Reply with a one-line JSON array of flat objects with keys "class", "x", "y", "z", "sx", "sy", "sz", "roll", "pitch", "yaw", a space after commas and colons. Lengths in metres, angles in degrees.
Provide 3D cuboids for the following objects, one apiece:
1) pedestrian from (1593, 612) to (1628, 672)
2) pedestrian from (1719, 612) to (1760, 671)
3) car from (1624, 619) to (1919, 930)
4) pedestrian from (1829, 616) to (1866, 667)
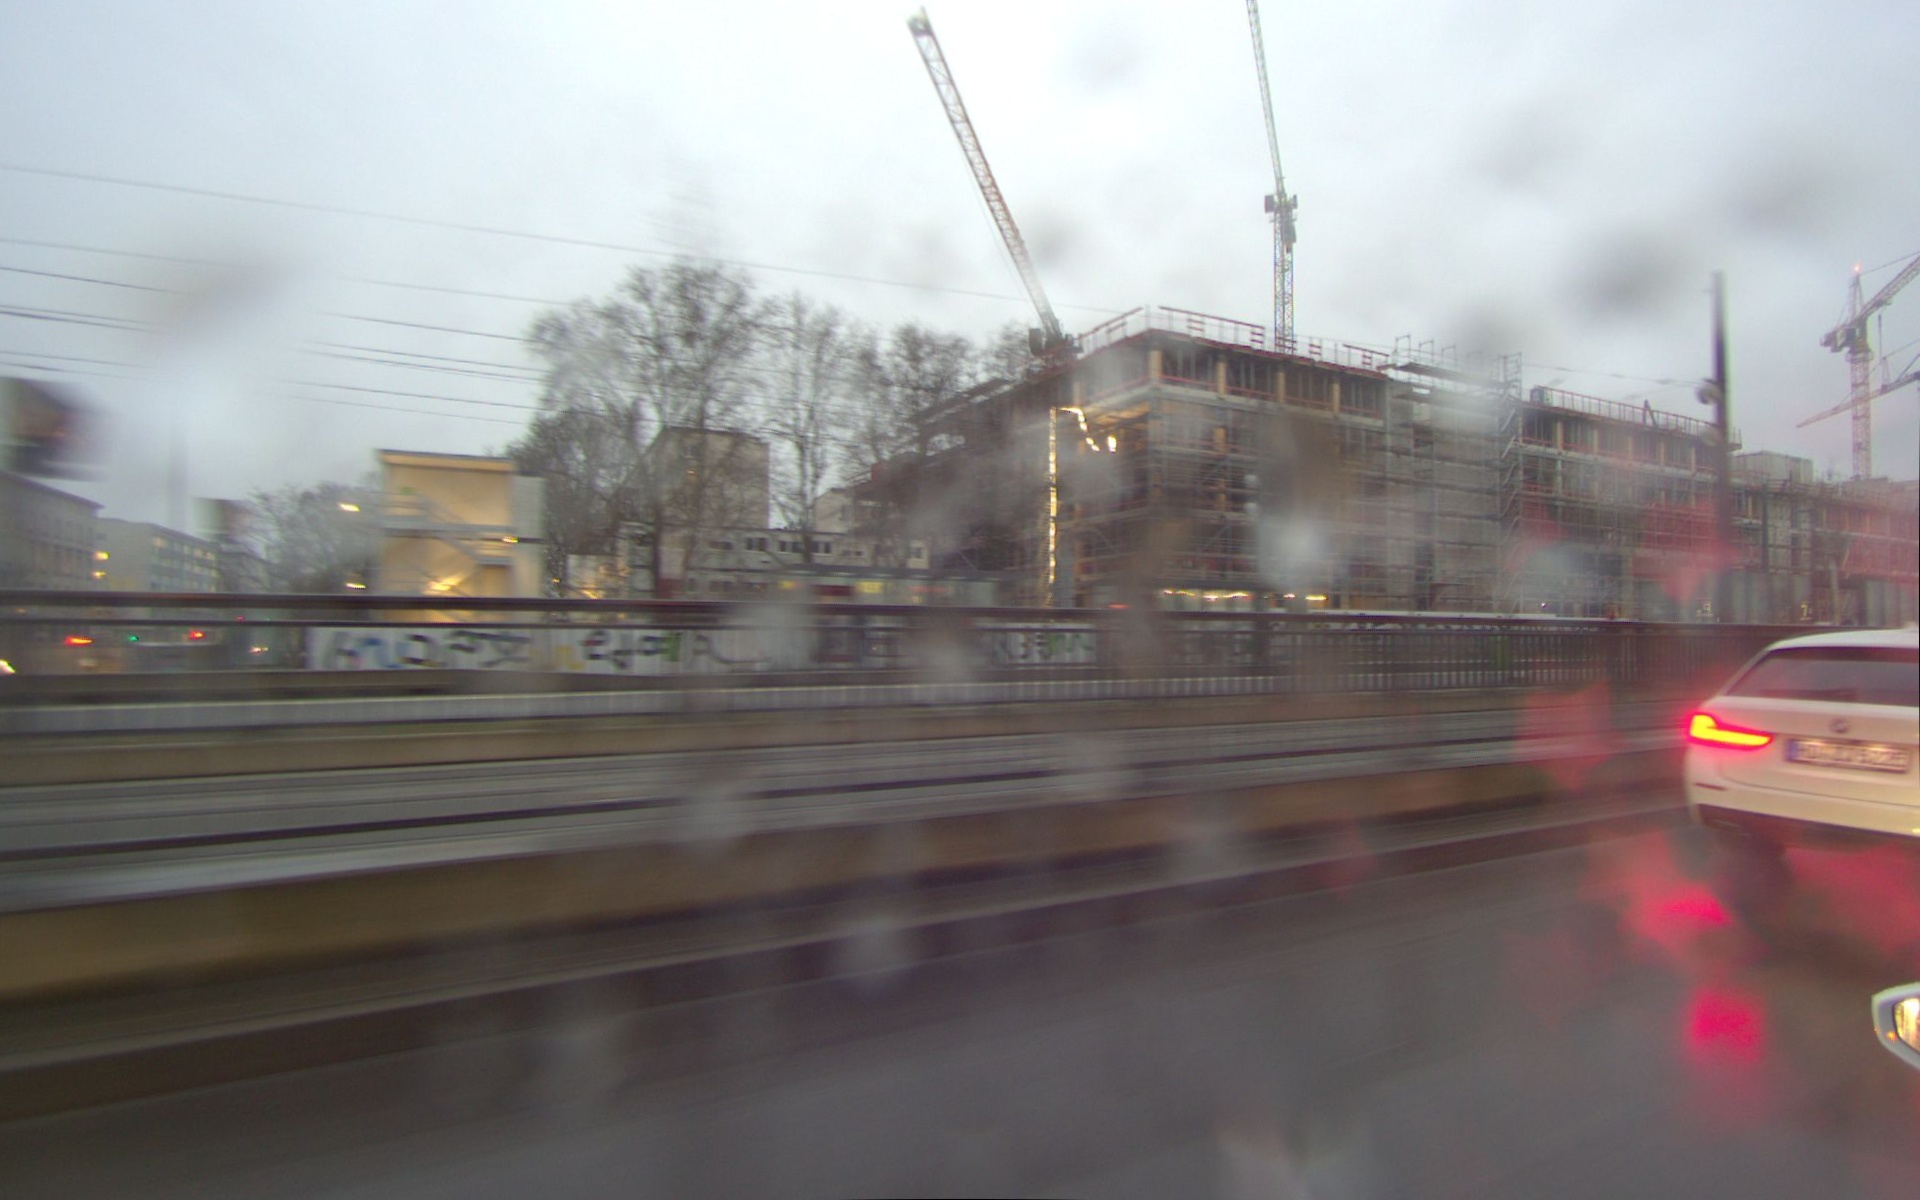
[{"class": "pedestrian", "x": 17.404, "y": 1.123, "z": 26.887, "sx": 0.572, "sy": 1.588, "sz": 0.544, "roll": 1, "pitch": -1, "yaw": -9}, {"class": "pedestrian", "x": 20.985, "y": 1.111, "z": 27.045, "sx": 0.728, "sy": 1.571, "sz": 0.583, "roll": 1, "pitch": -1, "yaw": -19}, {"class": "car", "x": 6.557, "y": 0.898, "z": 6.397, "sx": 4.886, "sy": 1.485, "sz": 1.844, "roll": 1, "pitch": -1, "yaw": -29}, {"class": "pedestrian", "x": 27.544, "y": 1.279, "z": 31.168, "sx": 0.728, "sy": 1.571, "sz": 0.583, "roll": 1, "pitch": -1, "yaw": -19}]
